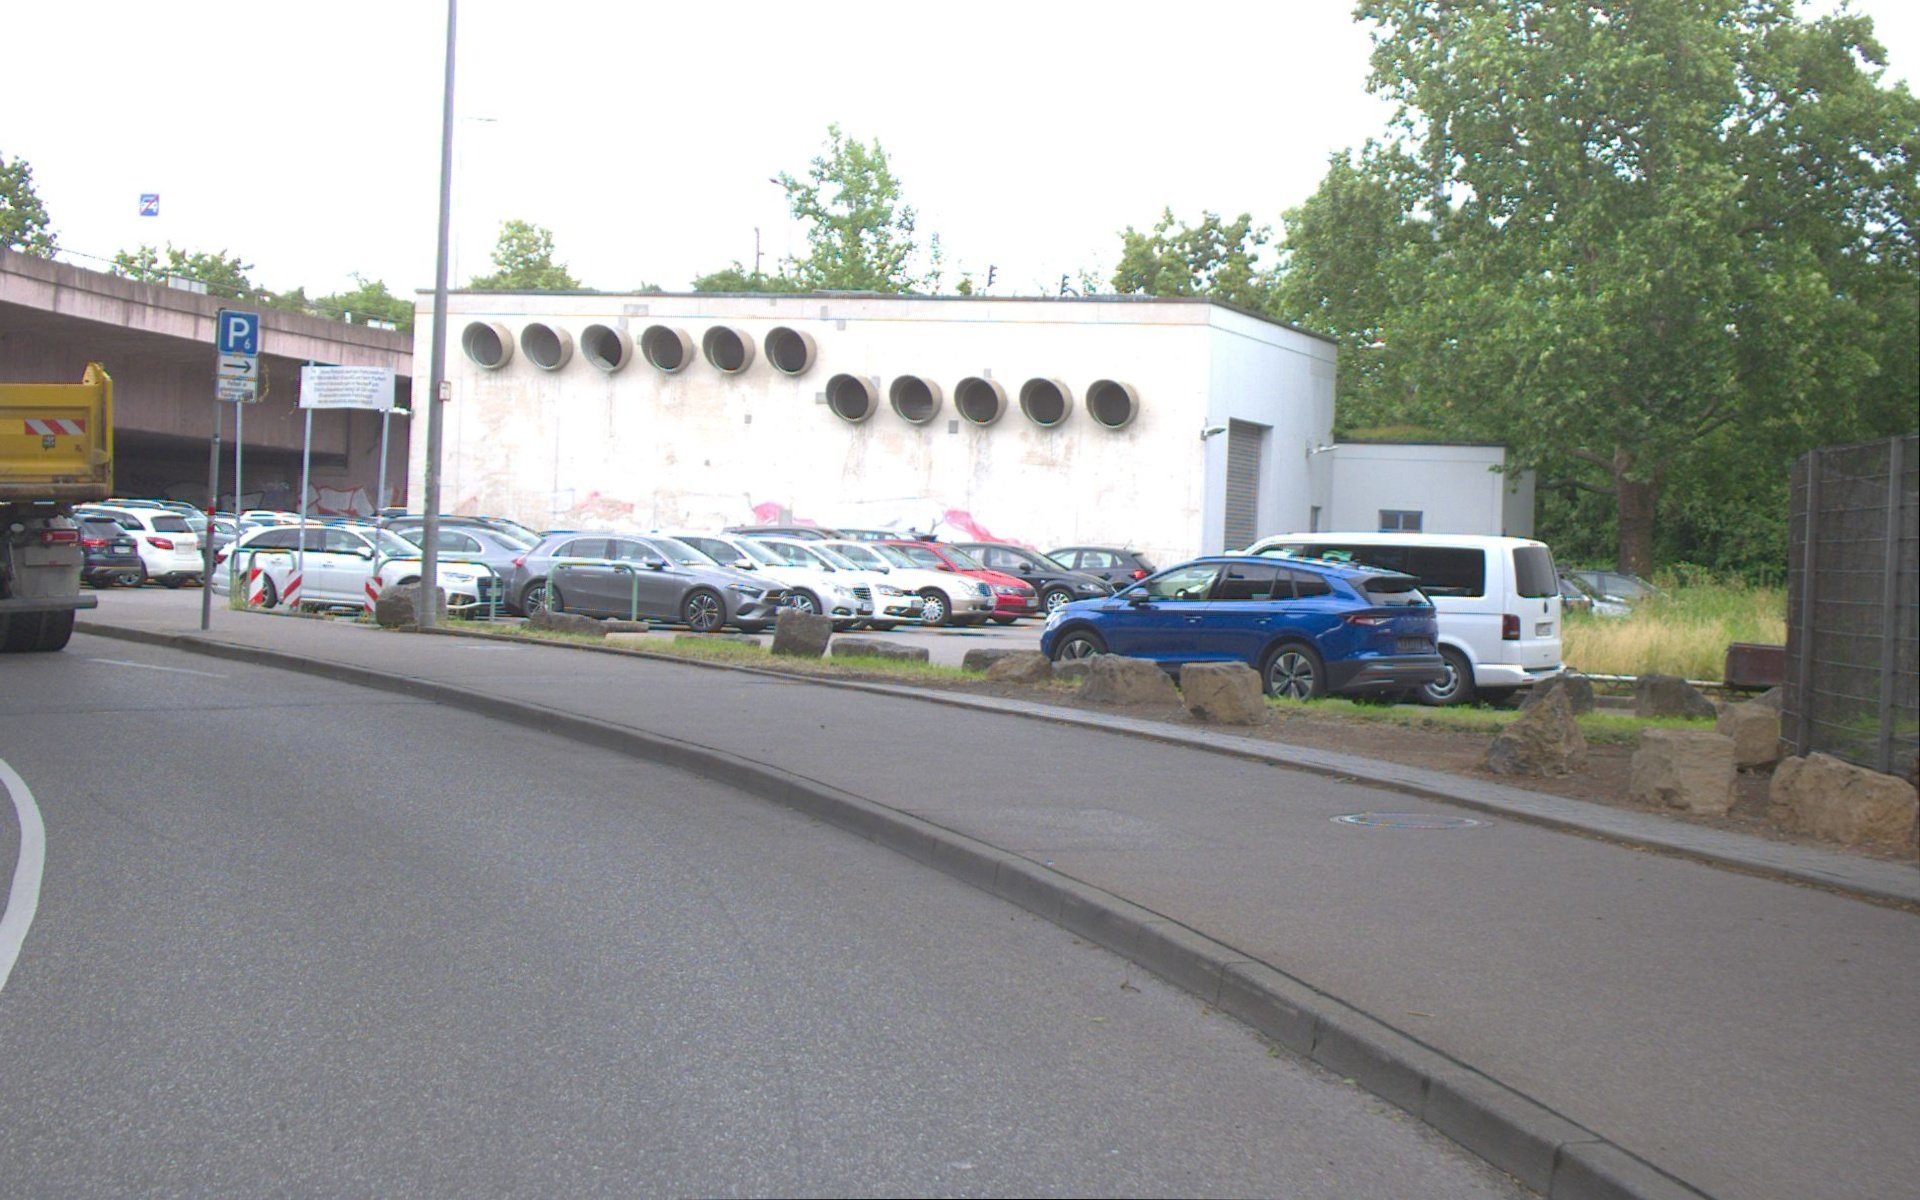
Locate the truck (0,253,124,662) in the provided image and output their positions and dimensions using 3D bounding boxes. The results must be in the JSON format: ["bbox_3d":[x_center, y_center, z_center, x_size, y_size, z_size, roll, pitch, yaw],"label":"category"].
[{"bbox_3d":[-10.963,-1.425,34.225,2.758,3.685,7.881,-1,3,-32],"label":"truck"}]

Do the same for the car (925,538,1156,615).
[{"bbox_3d":[1.693,-0.500,72.095,4.432,1.420,1.837,3,1,22],"label":"car"}]

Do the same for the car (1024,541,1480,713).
[{"bbox_3d":[3.121,0.256,37.347,4.681,1.629,1.772,3,2,38],"label":"car"}]

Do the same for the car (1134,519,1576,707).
[{"bbox_3d":[4.563,0.109,39.895,4.672,1.950,1.891,3,1,28],"label":"car"}]

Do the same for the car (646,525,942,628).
[{"bbox_3d":[-2.755,-0.403,57.026,4.491,1.508,1.837,3,1,22],"label":"car"}]

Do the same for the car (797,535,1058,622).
[{"bbox_3d":[-0.601,-0.399,63.755,4.432,1.420,1.837,3,1,22],"label":"car"}]

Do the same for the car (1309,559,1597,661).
[{"bbox_3d":[7.990,0.144,55.652,4.350,1.451,1.774,2,1,17],"label":"car"}]

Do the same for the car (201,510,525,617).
[{"bbox_3d":[-9.349,-0.571,53.809,4.677,1.470,1.856,3,1,22],"label":"car"}]

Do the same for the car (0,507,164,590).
[{"bbox_3d":[-17.349,-1.000,64.462,4.449,1.444,1.755,2,1,19],"label":"car"}]

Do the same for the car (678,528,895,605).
[{"bbox_3d":[-3.511,-0.684,69.679,3.967,1.388,1.767,3,1,20],"label":"car"}]

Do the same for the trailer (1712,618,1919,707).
[{"bbox_3d":[9.651,0.678,37.844,2.554,0.896,1.482,1,1,18],"label":"trailer"}]

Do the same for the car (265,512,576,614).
[{"bbox_3d":[-8.837,-0.609,56.312,4.676,1.470,1.856,3,1,20],"label":"car"}]

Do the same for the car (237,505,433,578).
[{"bbox_3d":[-14.834,-1.385,81.591,4.182,1.587,1.836,2,1,19],"label":"car"}]

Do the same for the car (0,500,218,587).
[{"bbox_3d":[-16.697,-1.103,66.812,4.078,1.551,1.755,2,1,19],"label":"car"}]

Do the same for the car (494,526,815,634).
[{"bbox_3d":[-4.619,-0.311,51.978,4.432,1.420,1.837,3,1,22],"label":"car"}]

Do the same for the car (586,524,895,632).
[{"bbox_3d":[-3.475,-0.361,54.417,4.491,1.508,1.837,3,1,22],"label":"car"}]

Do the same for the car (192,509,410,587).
[{"bbox_3d":[-14.074,-1.102,73.427,4.251,1.504,1.707,2,1,19],"label":"car"}]

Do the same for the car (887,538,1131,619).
[{"bbox_3d":[0.966,-0.437,68.226,4.432,1.420,1.837,3,1,22],"label":"car"}]

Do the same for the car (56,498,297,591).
[{"bbox_3d":[-15.742,-1.118,69.122,4.422,1.685,1.755,2,1,19],"label":"car"}]

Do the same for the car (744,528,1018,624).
[{"bbox_3d":[-1.408,-0.431,61.321,4.491,1.508,1.837,3,1,22],"label":"car"}]

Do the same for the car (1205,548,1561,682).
[{"bbox_3d":[5.633,0.172,45.769,4.351,1.582,1.774,2,1,21],"label":"car"}]

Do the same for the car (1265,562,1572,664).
[{"bbox_3d":[7.080,0.176,53.145,4.352,1.379,1.773,2,1,23],"label":"car"}]
